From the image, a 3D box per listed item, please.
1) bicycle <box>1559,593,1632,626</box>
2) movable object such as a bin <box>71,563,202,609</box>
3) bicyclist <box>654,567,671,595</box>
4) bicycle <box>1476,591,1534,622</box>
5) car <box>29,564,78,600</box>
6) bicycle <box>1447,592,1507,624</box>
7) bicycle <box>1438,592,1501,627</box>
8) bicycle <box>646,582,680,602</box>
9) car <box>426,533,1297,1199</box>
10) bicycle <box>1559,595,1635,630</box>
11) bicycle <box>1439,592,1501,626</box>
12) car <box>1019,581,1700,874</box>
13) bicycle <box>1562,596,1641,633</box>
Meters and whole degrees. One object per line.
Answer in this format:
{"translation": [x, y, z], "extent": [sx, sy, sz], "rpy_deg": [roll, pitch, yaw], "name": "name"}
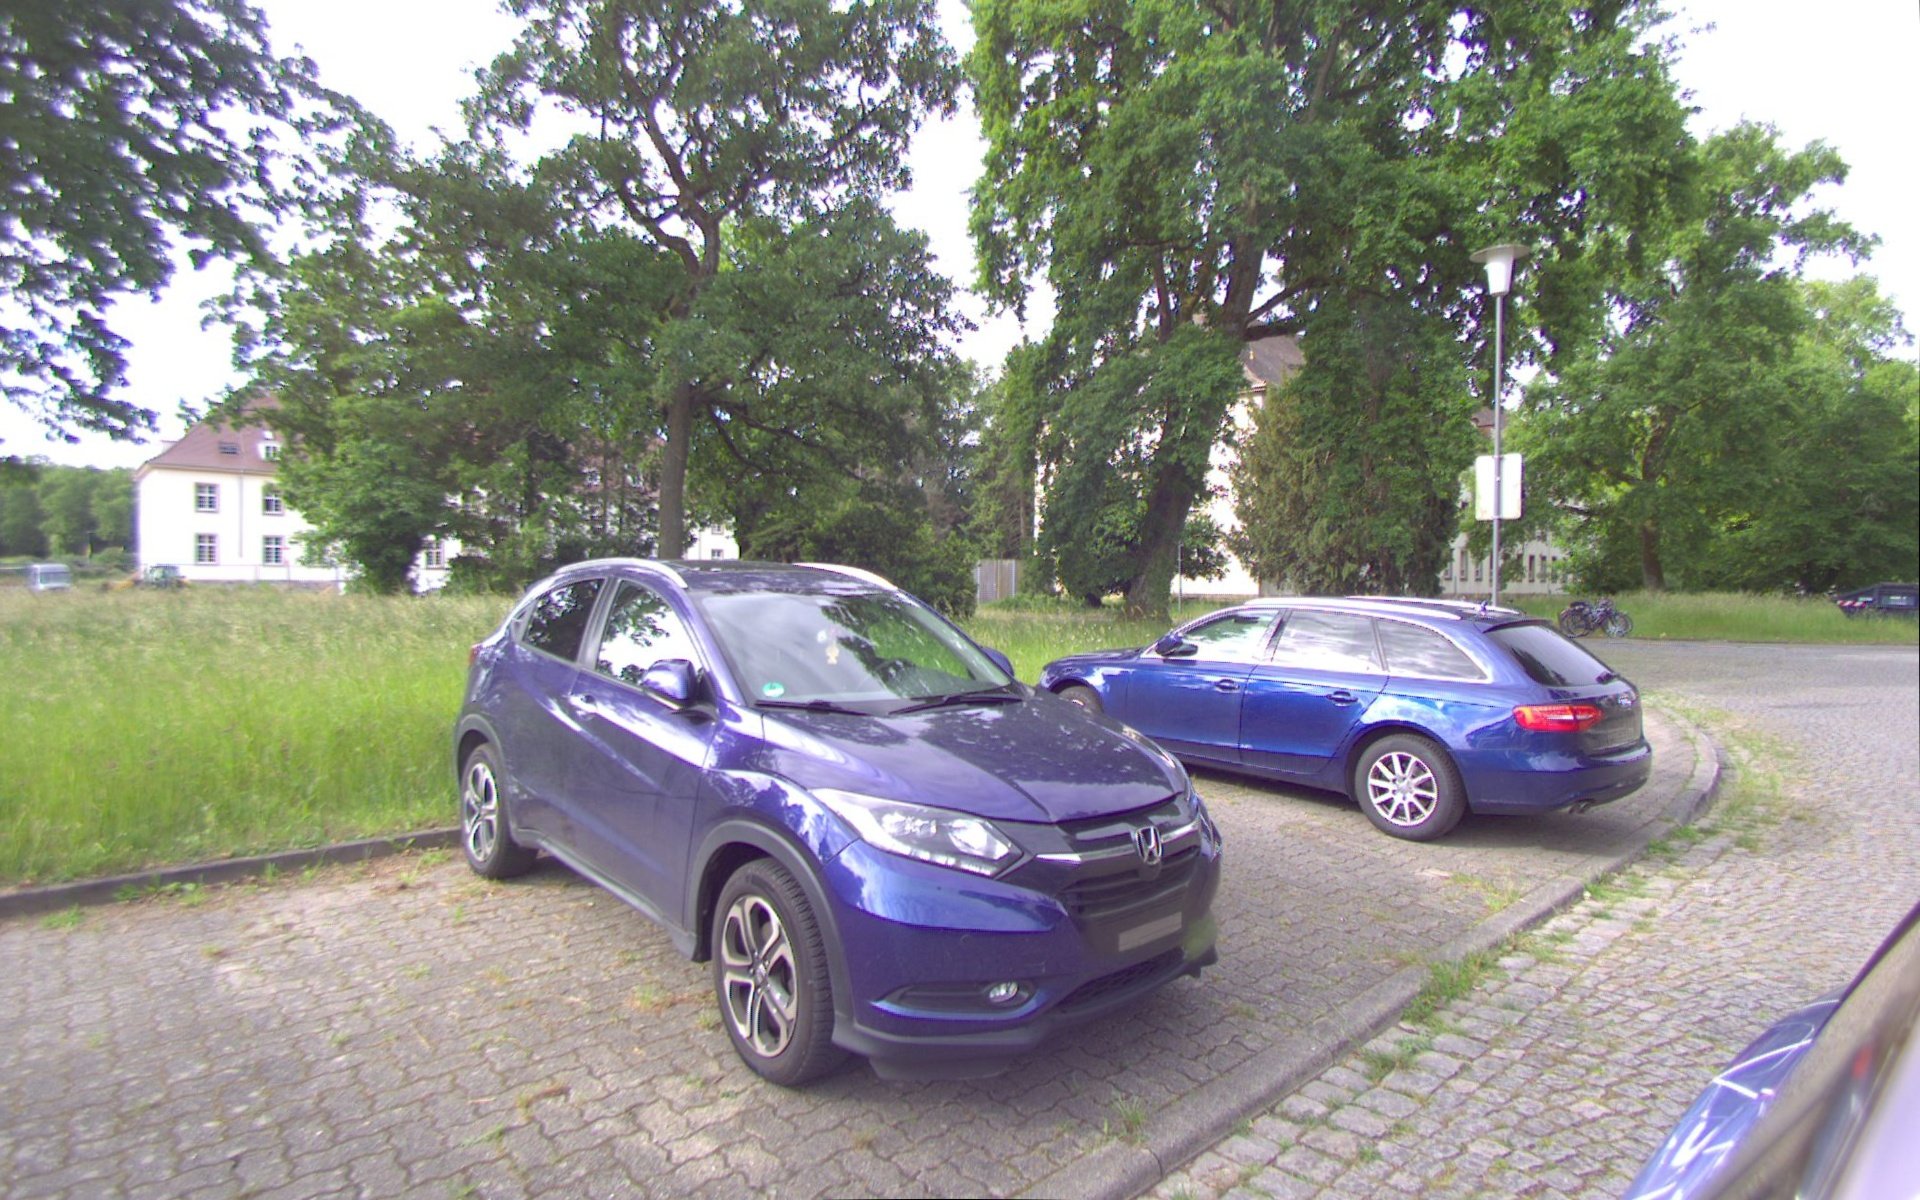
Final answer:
{"translation": [21.382, 0.301, 34.089], "extent": [2.008, 1.090, 0.617], "rpy_deg": [0, 0, 25], "name": "bicycle"}
{"translation": [-50.092, -0.851, 61.742], "extent": [5.854, 2.688, 2.179], "rpy_deg": [-1, 0, -26], "name": "movable object such as a bin"}
{"translation": [-18.383, -1.187, 62.469], "extent": [0.725, 1.717, 0.760], "rpy_deg": [0, 0, 45], "name": "bicyclist"}
{"translation": [19.984, 0.235, 37.130], "extent": [1.838, 1.137, 0.617], "rpy_deg": [0, 0, 25], "name": "bicycle"}
{"translation": [-61.786, -1.213, 68.960], "extent": [4.575, 2.377, 1.890], "rpy_deg": [0, 1, 40], "name": "car"}
{"translation": [18.265, 0.276, 35.778], "extent": [1.838, 1.137, 0.617], "rpy_deg": [0, 0, 25], "name": "bicycle"}
{"translation": [17.024, 0.310, 33.827], "extent": [1.838, 1.137, 0.617], "rpy_deg": [0, 0, 25], "name": "bicycle"}
{"translation": [-18.329, -0.516, 62.469], "extent": [0.723, 1.244, 1.901], "rpy_deg": [0, 1, 44], "name": "bicycle"}
{"translation": [-0.841, 0.573, 4.546], "extent": [1.763, 1.591, 4.168], "rpy_deg": [-2, 2, -42], "name": "car"}
{"translation": [20.269, 0.382, 32.237], "extent": [1.949, 1.090, 0.584], "rpy_deg": [0, 0, 21], "name": "bicycle"}
{"translation": [17.323, 0.301, 34.389], "extent": [1.838, 1.137, 0.617], "rpy_deg": [0, 0, 25], "name": "bicycle"}
{"translation": [2.609, 0.634, 7.618], "extent": [1.753, 1.438, 4.480], "rpy_deg": [0, 2, -39], "name": "car"}
{"translation": [19.489, 0.441, 30.785], "extent": [1.949, 1.090, 0.584], "rpy_deg": [0, 0, 21], "name": "bicycle"}
